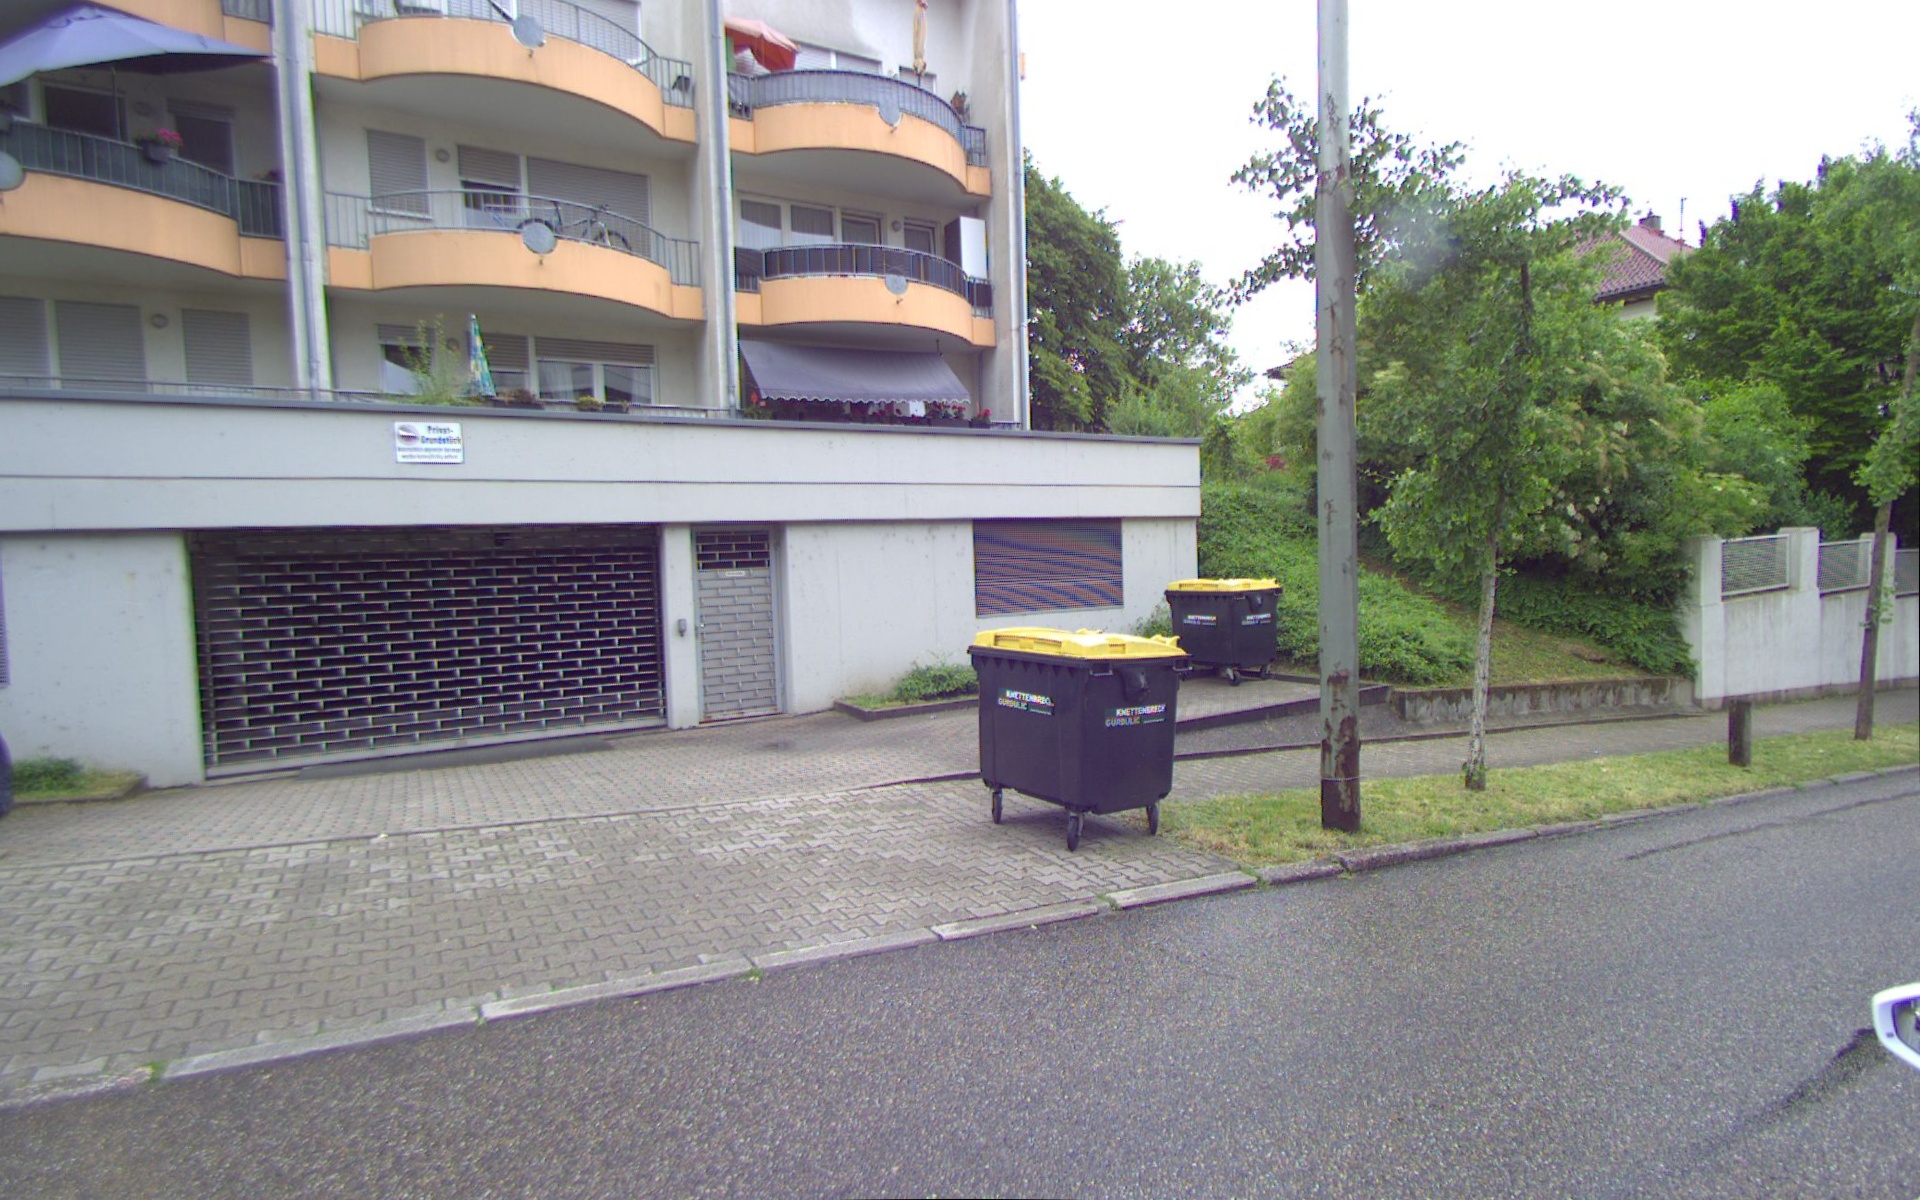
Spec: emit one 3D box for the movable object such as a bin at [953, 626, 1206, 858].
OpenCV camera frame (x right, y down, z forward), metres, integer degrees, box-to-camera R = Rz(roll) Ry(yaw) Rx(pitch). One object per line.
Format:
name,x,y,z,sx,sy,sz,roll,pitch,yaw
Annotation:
movable object such as a bin,0.796,0.876,6.896,1.145,1.324,1.288,0,2,-38

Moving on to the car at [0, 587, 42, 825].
car,-8.134,0.677,5.648,4.050,1.582,1.770,1,-4,-31

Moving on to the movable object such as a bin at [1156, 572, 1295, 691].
movable object such as a bin,3.532,0.375,13.399,1.215,1.383,1.289,-7,6,-36
